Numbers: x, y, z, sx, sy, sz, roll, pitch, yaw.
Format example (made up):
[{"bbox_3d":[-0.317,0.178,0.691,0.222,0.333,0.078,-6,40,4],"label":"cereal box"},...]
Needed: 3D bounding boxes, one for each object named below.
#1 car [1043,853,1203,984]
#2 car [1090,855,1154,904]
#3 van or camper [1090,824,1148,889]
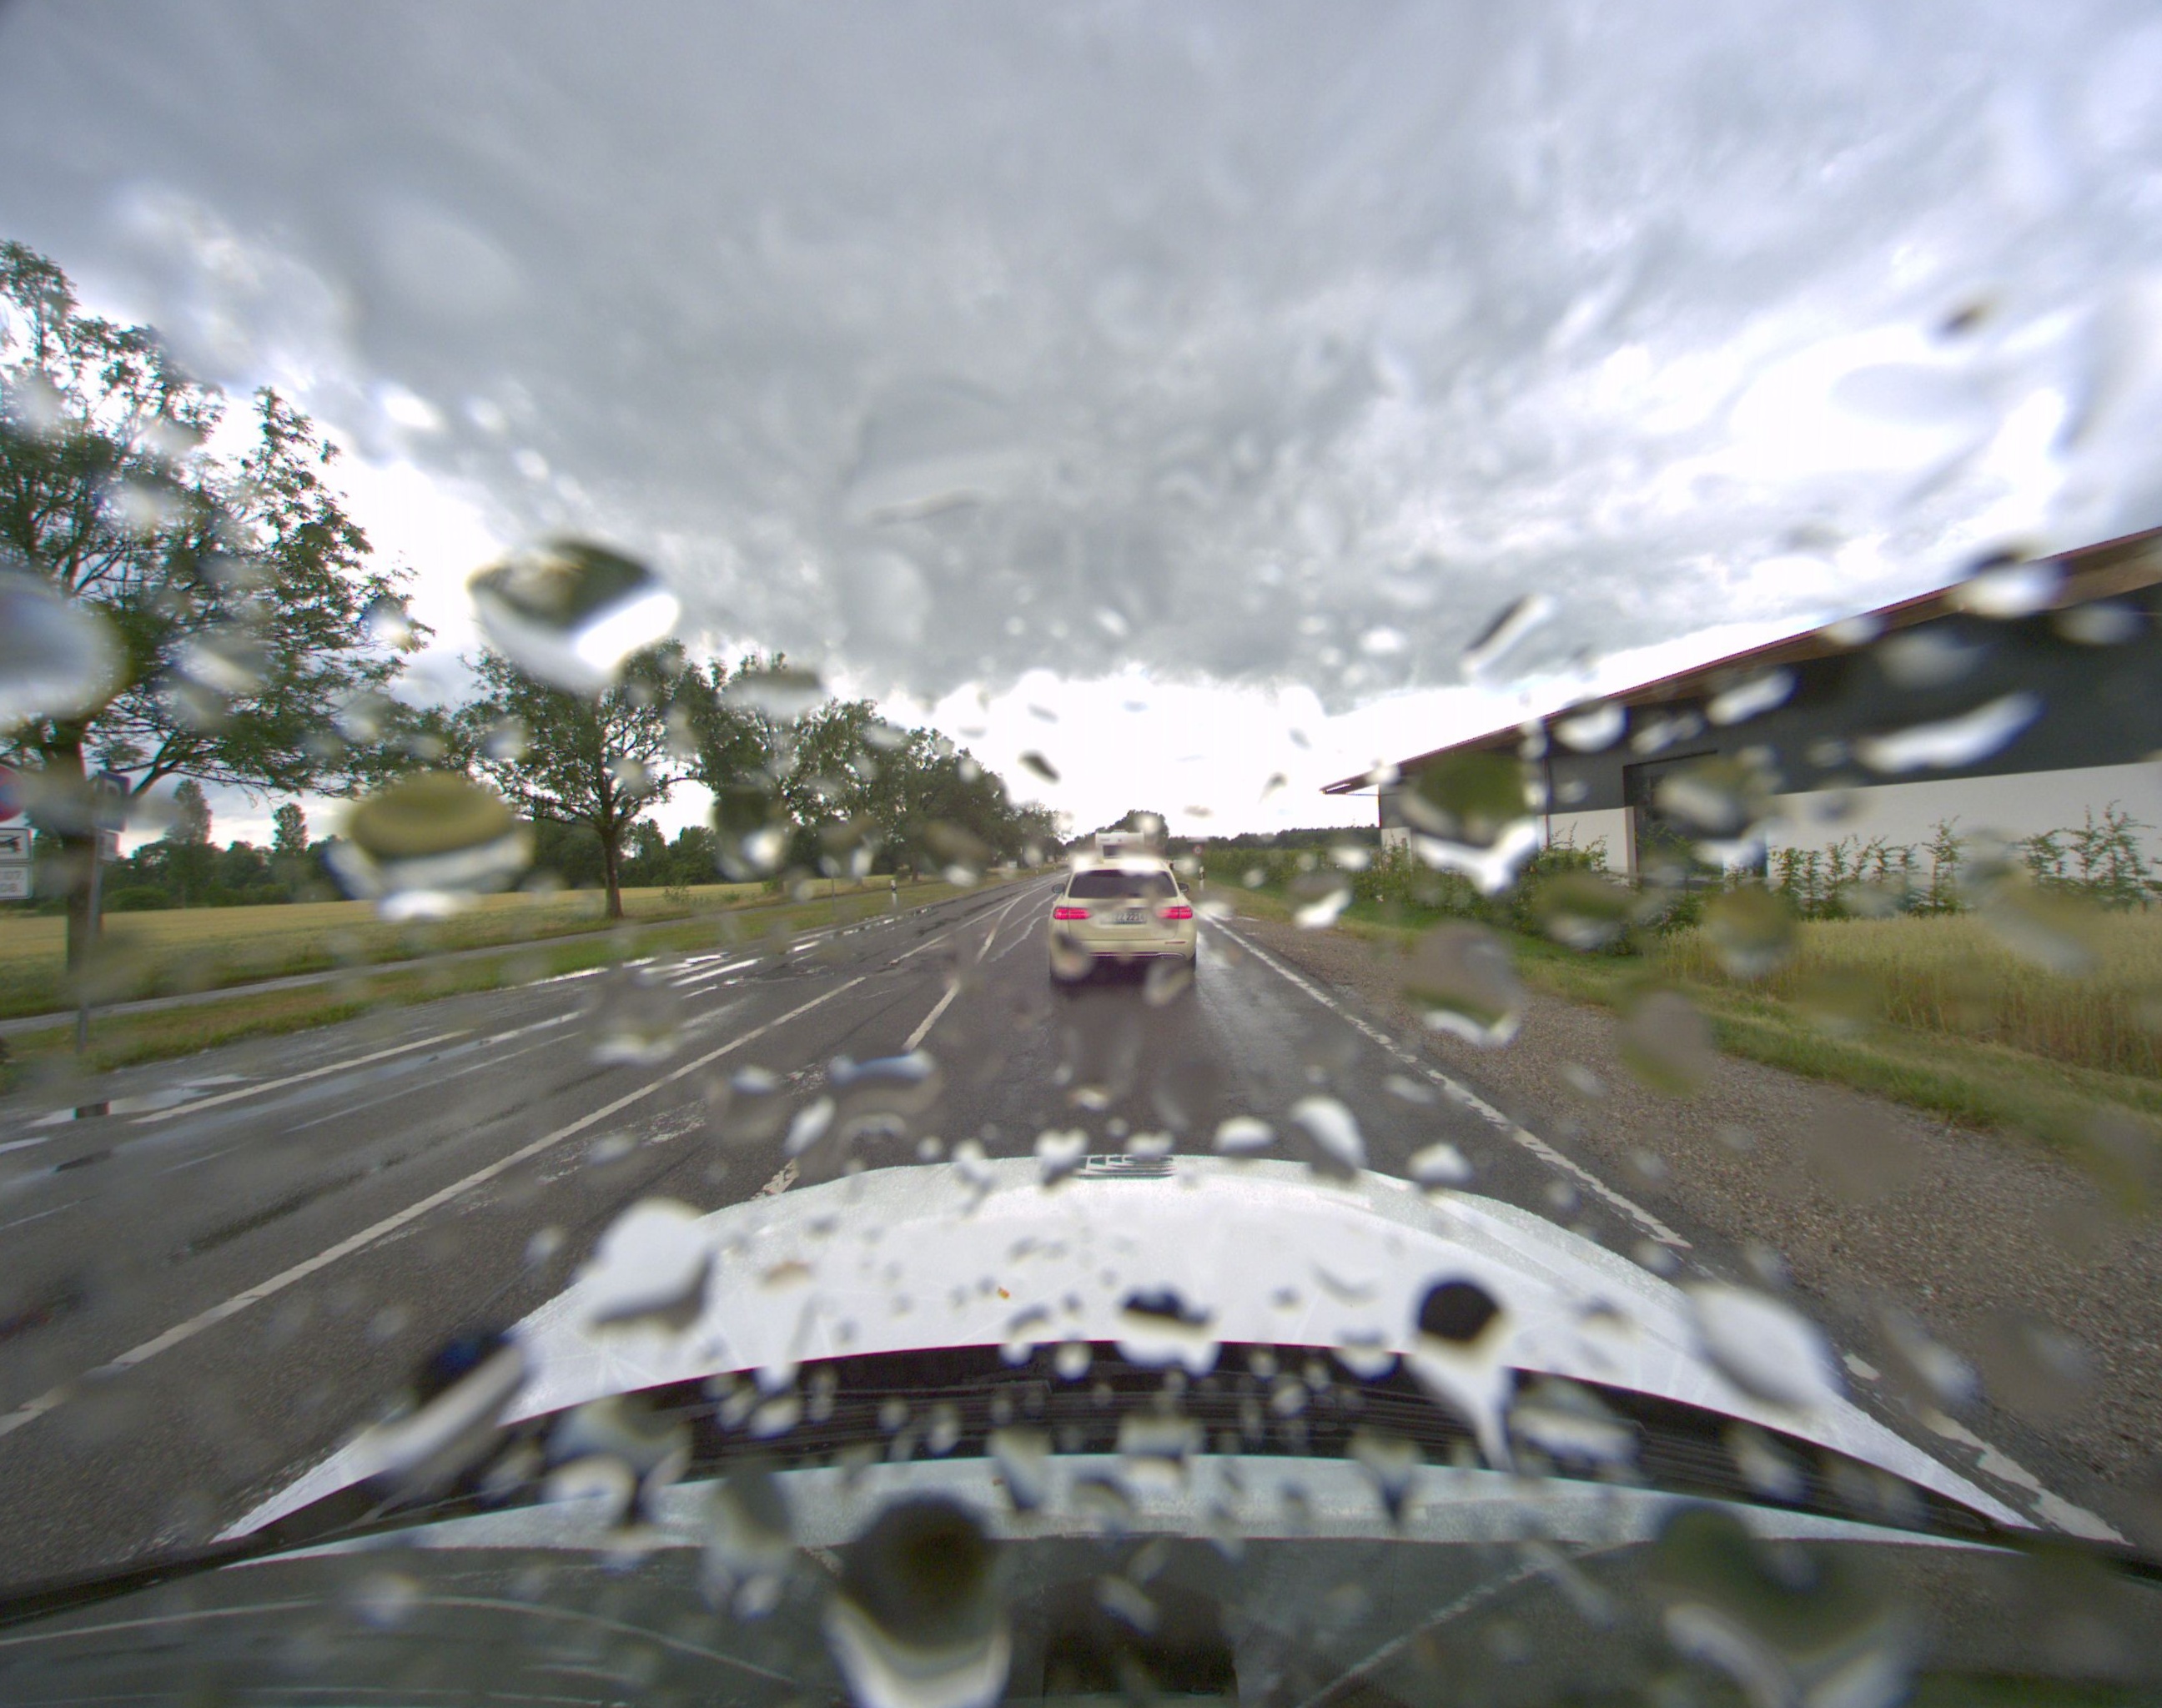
[{"bbox_3d":[0.568,0.737,11.240,1.790,1.464,4.033,-1,0,3],"label":"car"},{"bbox_3d":[1.298,0.778,26.373,1.887,1.429,3.929,-1,0,2],"label":"car"},{"bbox_3d":[1.915,0.131,40.306,2.486,2.831,5.938,-3,0,3],"label":"van or camper"}]
